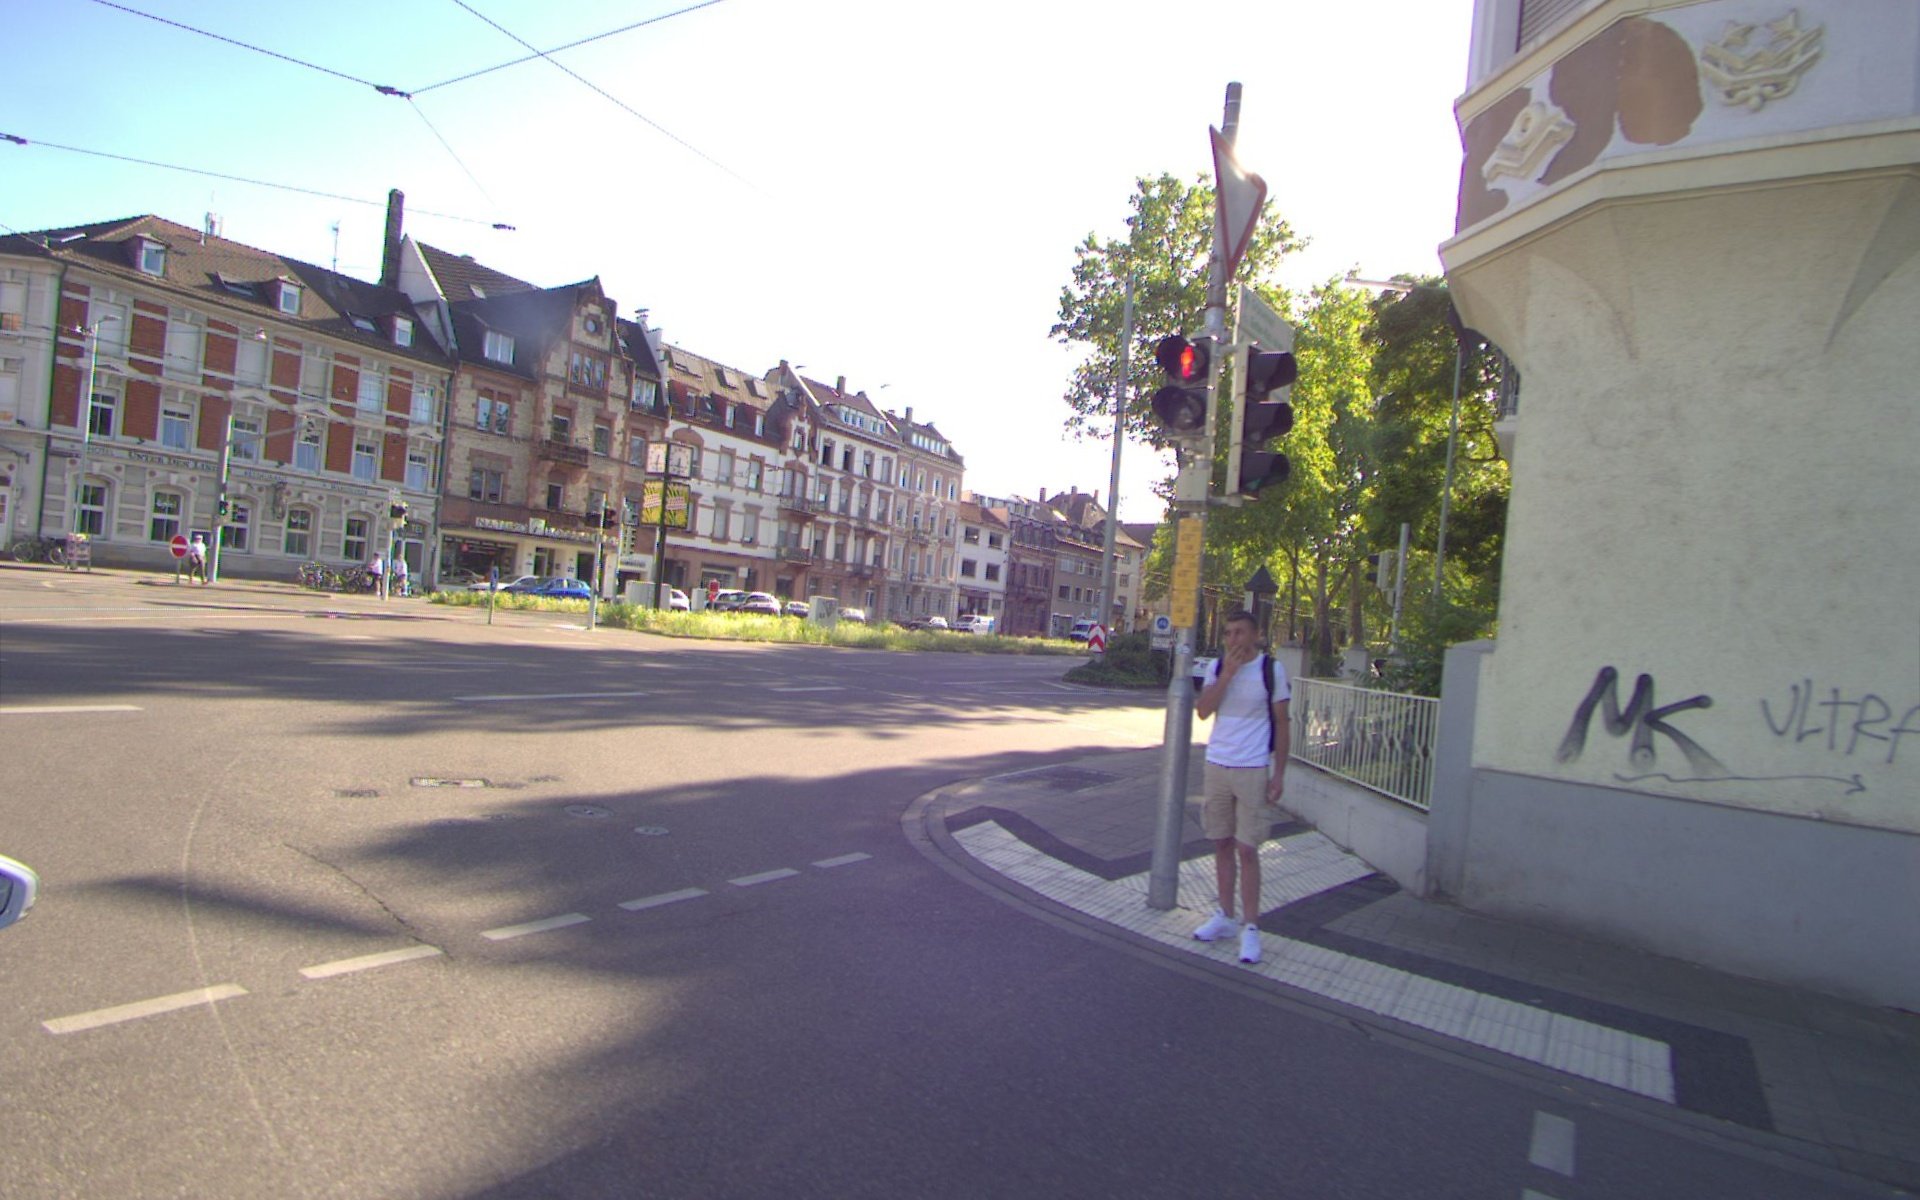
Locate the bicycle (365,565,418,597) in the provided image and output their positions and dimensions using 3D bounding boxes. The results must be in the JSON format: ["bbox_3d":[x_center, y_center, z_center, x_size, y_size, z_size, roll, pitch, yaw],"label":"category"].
[{"bbox_3d":[-25.031,-0.819,44.310,0.667,1.205,1.967,5,0,21],"label":"bicycle"}]

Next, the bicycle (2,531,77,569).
[{"bbox_3d":[-34.407,-1.862,37.619,0.538,1.205,1.959,6,0,37],"label":"bicycle"}]

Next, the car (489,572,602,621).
[{"bbox_3d":[-17.581,-0.135,42.825,1.923,1.688,3.990,5,-1,32],"label":"car"}]

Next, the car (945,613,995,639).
[{"bbox_3d":[0.870,2.267,86.425,1.923,1.884,4.792,5,-1,32],"label":"car"}]

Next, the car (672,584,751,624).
[{"bbox_3d":[-15.054,0.273,61.132,1.923,1.989,4.408,5,-1,32],"label":"car"}]

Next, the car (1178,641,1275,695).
[{"bbox_3d":[8.831,2.235,33.045,1.886,1.471,4.494,5,-1,30],"label":"car"}]

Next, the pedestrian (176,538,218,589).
[{"bbox_3d":[-26.881,-1.271,35.449,0.922,1.690,0.717,5,0,22],"label":"pedestrian"}]

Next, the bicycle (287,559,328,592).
[{"bbox_3d":[-27.101,-1.038,41.758,1.936,1.205,0.677,5,0,34],"label":"bicycle"}]

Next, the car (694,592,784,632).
[{"bbox_3d":[-11.436,0.634,52.365,1.923,1.688,4.476,5,-1,32],"label":"car"}]

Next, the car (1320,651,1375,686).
[{"bbox_3d":[19.608,3.448,50.802,1.886,1.471,4.494,5,-1,30],"label":"car"}]

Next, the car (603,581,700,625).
[{"bbox_3d":[-14.478,0.160,47.457,1.923,1.688,3.990,5,-1,32],"label":"car"}]

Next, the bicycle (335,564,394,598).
[{"bbox_3d":[-24.614,-0.766,41.593,0.592,1.205,1.961,6,0,35],"label":"bicycle"}]

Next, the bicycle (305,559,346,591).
[{"bbox_3d":[-26.740,-1.052,42.364,1.936,1.205,0.677,5,0,34],"label":"bicycle"}]

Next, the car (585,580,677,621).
[{"bbox_3d":[-16.391,0.056,50.284,1.923,1.688,3.990,5,-1,32],"label":"car"}]

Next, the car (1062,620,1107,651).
[{"bbox_3d":[13.205,3.765,106.011,2.167,2.945,5.944,5,0,32],"label":"car"}]

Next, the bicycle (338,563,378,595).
[{"bbox_3d":[-26.027,-0.905,43.479,1.936,1.205,0.677,5,0,34],"label":"bicycle"}]

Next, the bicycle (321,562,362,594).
[{"bbox_3d":[-26.397,-0.939,42.914,1.936,1.205,0.677,5,0,34],"label":"bicycle"}]

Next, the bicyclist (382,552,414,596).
[{"bbox_3d":[-24.359,-1.122,43.620,0.591,1.786,0.904,6,0,28],"label":"bicyclist"}]

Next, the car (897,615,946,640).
[{"bbox_3d":[-3.043,2.244,80.578,1.923,1.688,3.990,5,-1,32],"label":"car"}]

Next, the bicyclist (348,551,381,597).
[{"bbox_3d":[-24.601,-1.067,41.574,0.592,1.786,0.872,6,0,35],"label":"bicyclist"}]

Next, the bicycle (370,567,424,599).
[{"bbox_3d":[-24.394,-0.706,43.636,0.591,1.205,1.964,6,0,27],"label":"bicycle"}]

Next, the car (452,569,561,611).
[{"bbox_3d":[-19.984,-0.429,44.510,1.815,1.429,3.990,5,-1,32],"label":"car"}]

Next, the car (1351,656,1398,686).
[{"bbox_3d":[24.285,4.145,58.851,1.886,1.471,4.494,5,-1,30],"label":"car"}]

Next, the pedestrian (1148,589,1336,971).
[{"bbox_3d":[1.452,0.846,5.160,0.663,1.764,0.687,5,3,31],"label":"pedestrian"}]

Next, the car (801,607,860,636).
[{"bbox_3d":[-9.124,1.527,71.289,1.923,1.688,3.990,5,-1,32],"label":"car"}]
